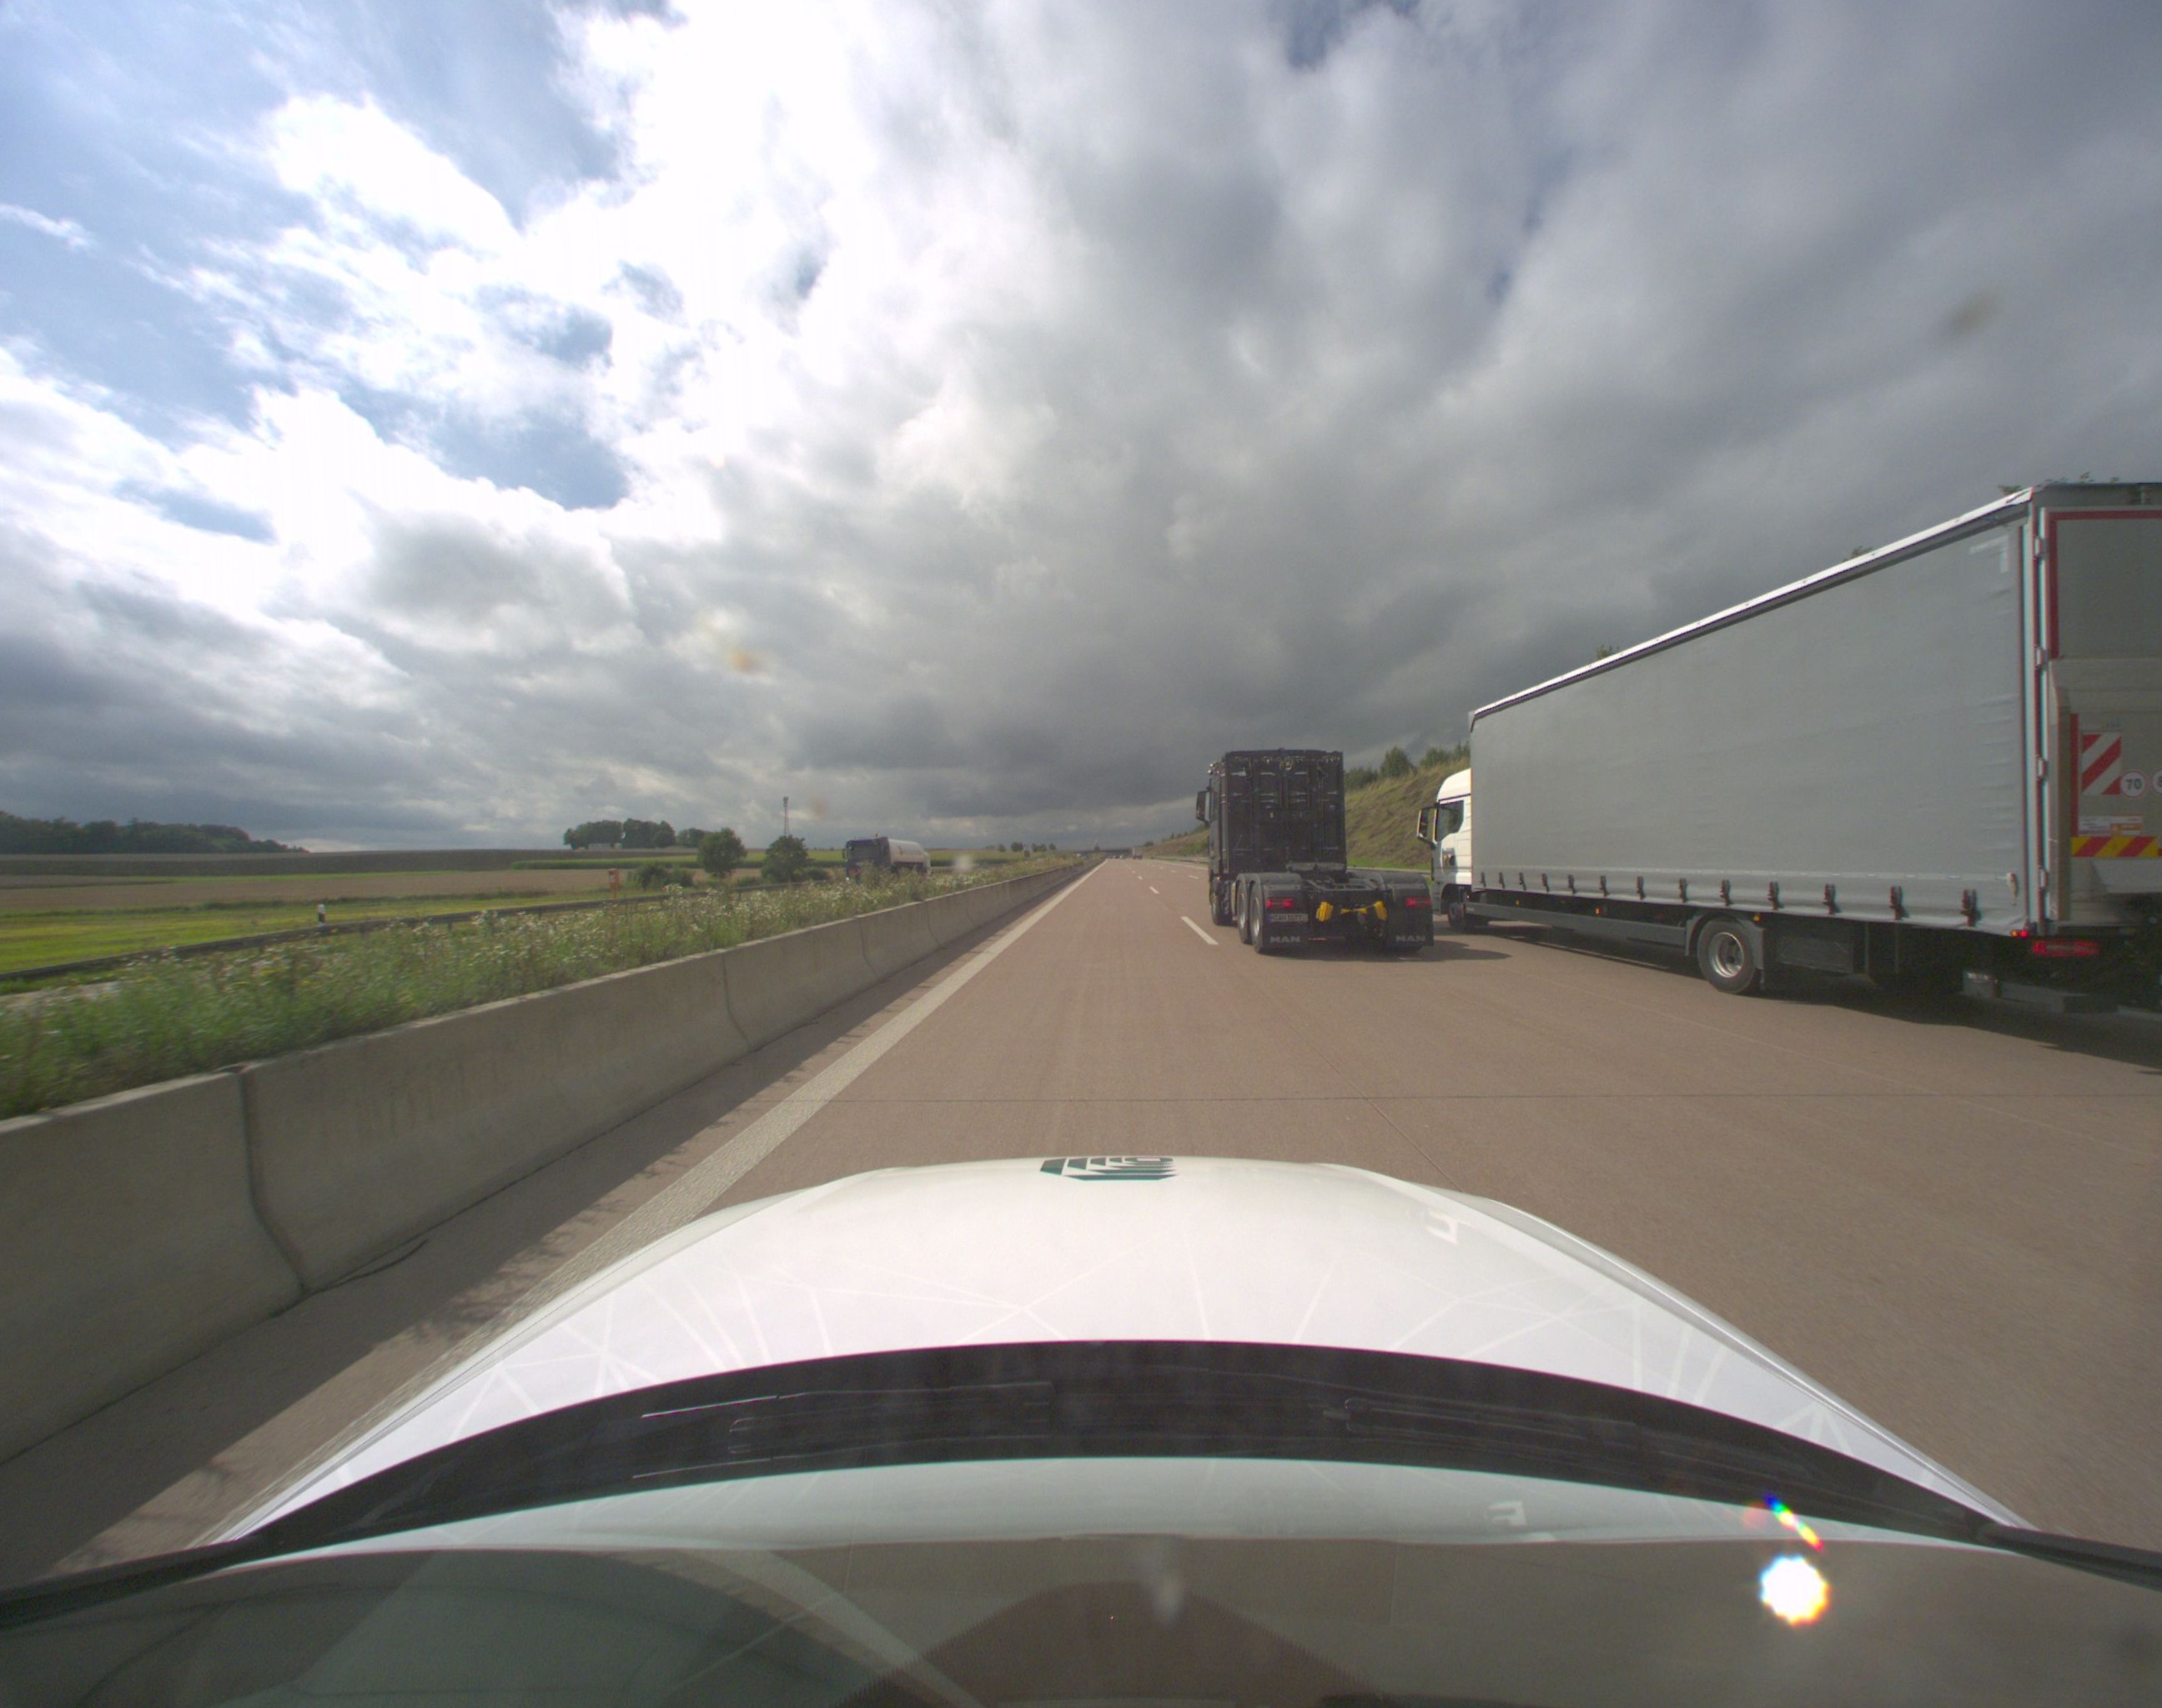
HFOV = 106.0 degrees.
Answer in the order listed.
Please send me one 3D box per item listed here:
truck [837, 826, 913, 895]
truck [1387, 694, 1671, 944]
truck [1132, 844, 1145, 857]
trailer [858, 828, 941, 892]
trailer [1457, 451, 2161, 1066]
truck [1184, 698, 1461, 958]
[{"bbox_3d":[-13.438,0.421,53.648,2.880,4.098,6.340,-4,0,3],"label":"truck"},{"bbox_3d":[7.846,-0.538,14.983,2.739,3.892,4.545,0,0,0],"label":"truck"},{"bbox_3d":[18.039,-1.200,256.034,3.602,3.945,11.183,0,0,3],"label":"truck"},{"bbox_3d":[-13.085,0.401,59.990,2.879,4.098,11.046,-3,0,3],"label":"trailer"},{"bbox_3d":[7.798,-0.616,9.650,2.738,4.012,8.670,0,0,1],"label":"trailer"},{"bbox_3d":[3.833,-0.341,15.332,2.838,3.550,8.320,0,0,1],"label":"truck"}]
